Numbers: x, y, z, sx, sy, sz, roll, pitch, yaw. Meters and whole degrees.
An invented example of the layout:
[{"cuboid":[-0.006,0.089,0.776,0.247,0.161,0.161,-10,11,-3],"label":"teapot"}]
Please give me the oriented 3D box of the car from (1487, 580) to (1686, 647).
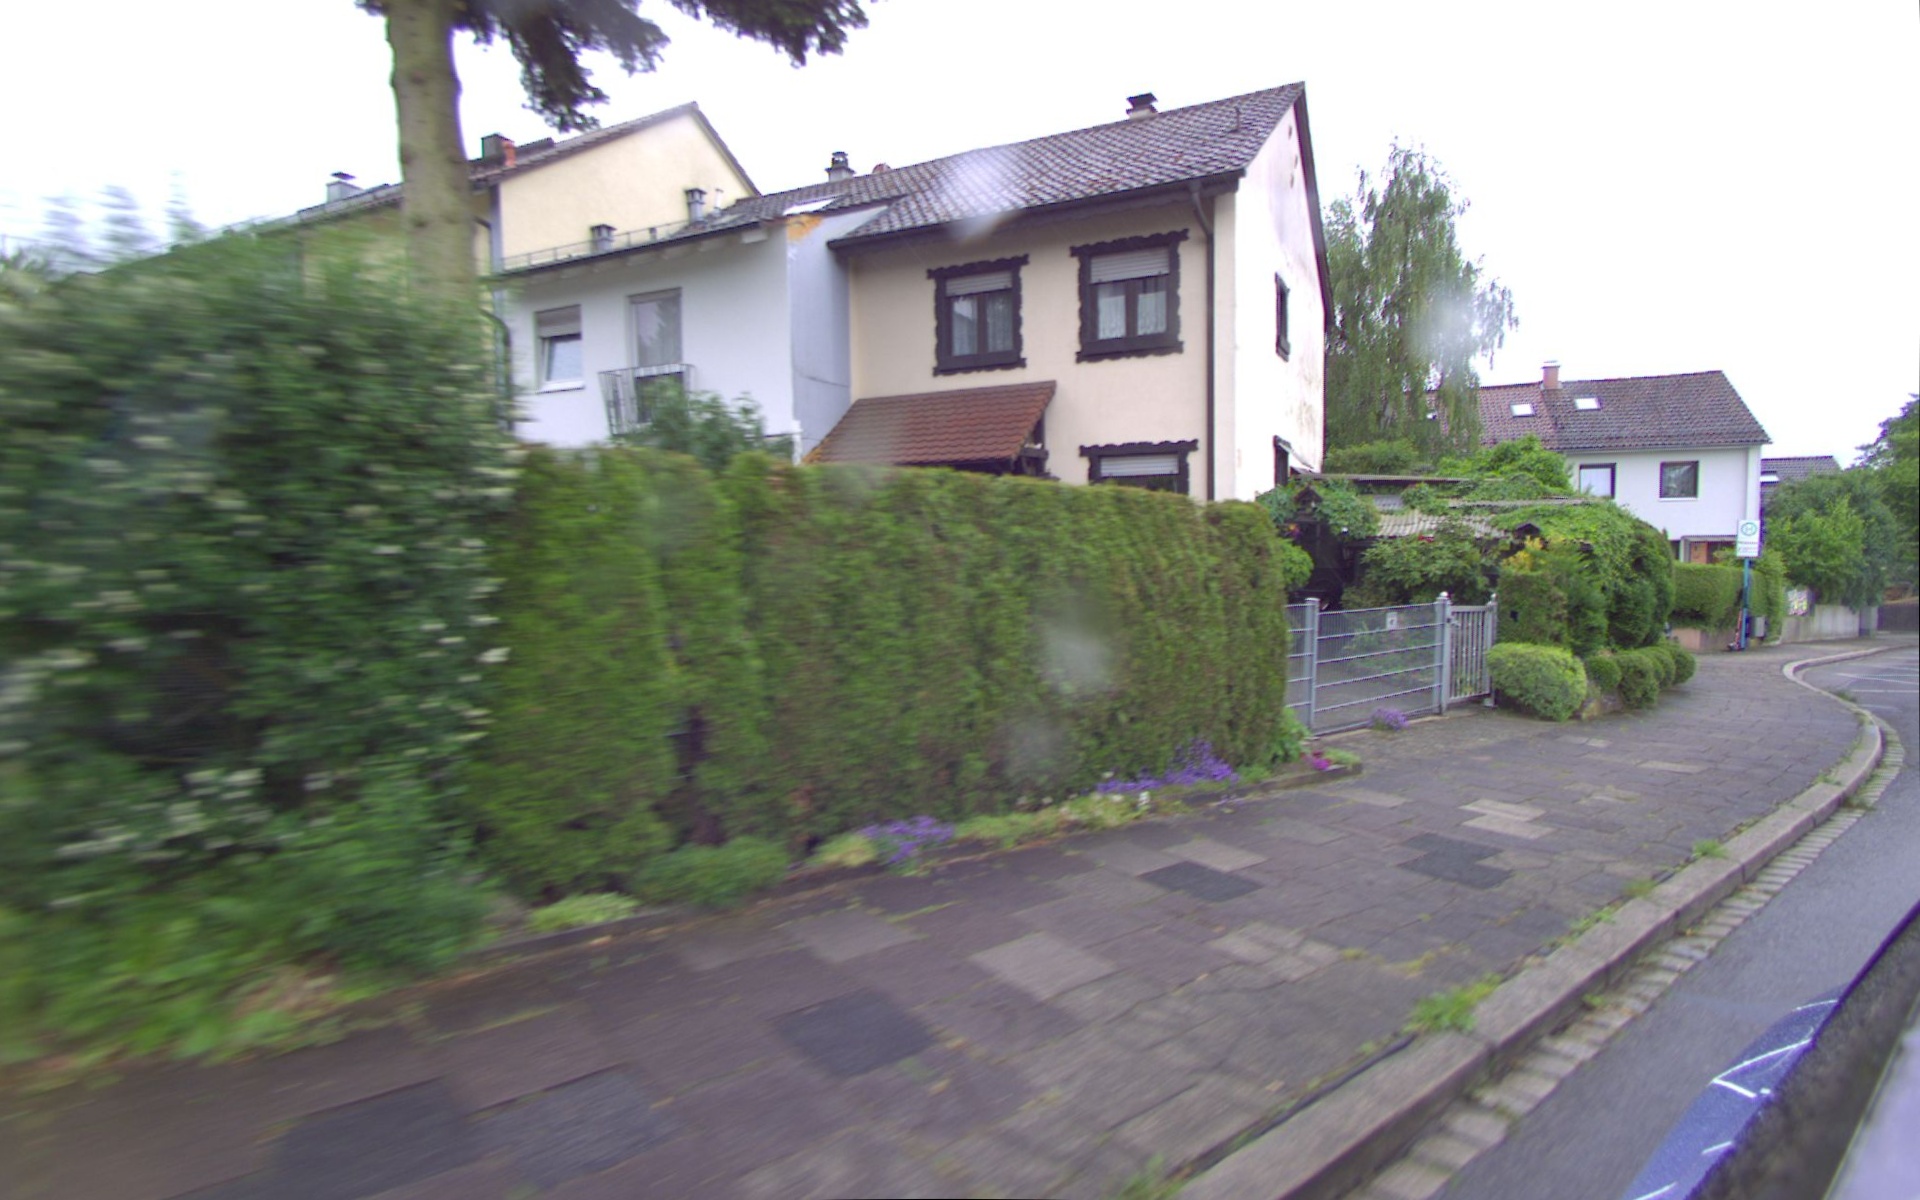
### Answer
[{"cuboid":[14.344,0.263,23.417,3.671,1.314,1.757,3,2,26],"label":"car"}]
